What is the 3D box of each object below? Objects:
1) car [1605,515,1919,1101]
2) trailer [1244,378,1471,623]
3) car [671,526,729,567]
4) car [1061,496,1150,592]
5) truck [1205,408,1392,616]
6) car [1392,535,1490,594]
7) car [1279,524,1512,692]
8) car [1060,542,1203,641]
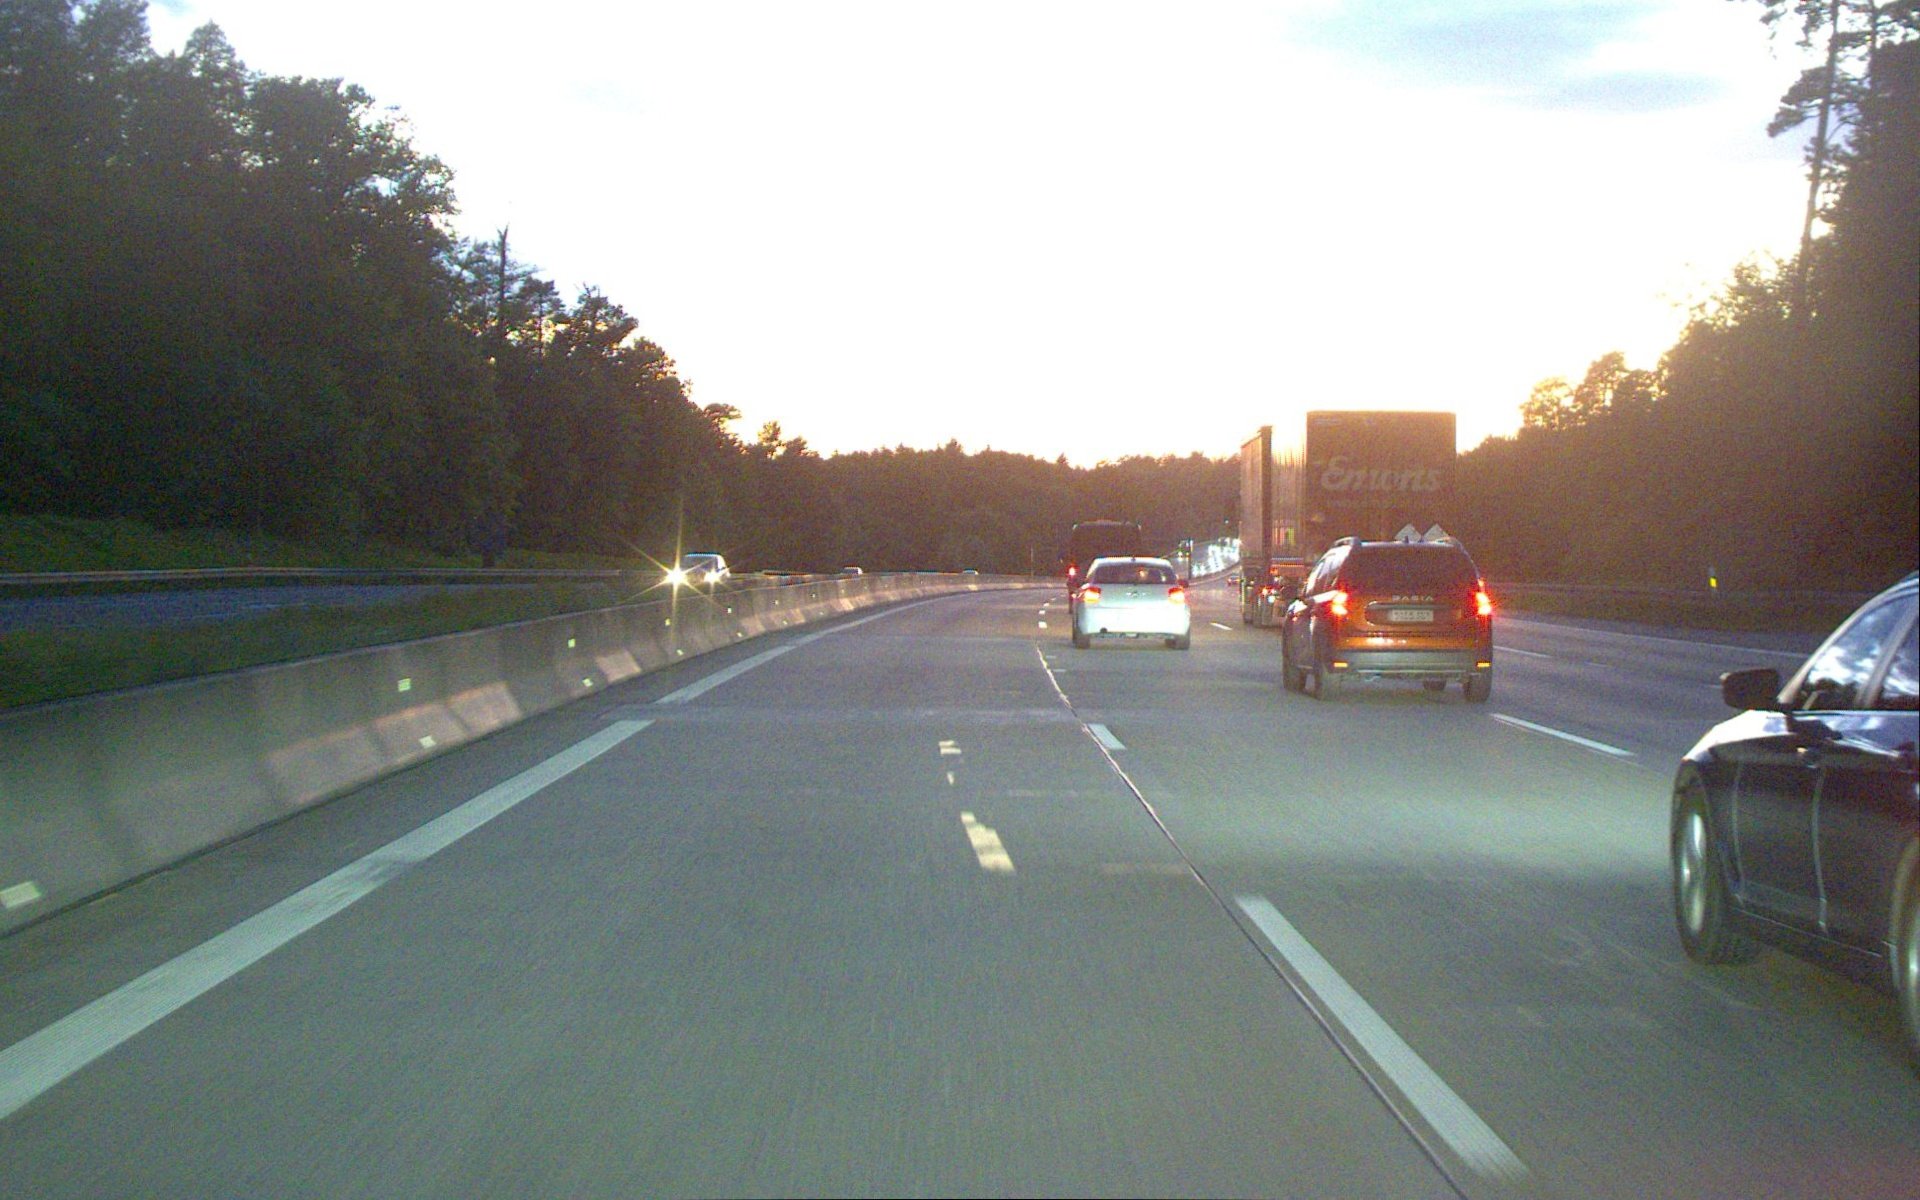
[{"bbox_3d":[3.532,0.539,10.816,1.909,1.532,5.232,0,2,-1],"label":"car"},{"bbox_3d":[7.117,-1.708,62.972,2.907,4.086,10.358,1,0,0],"label":"trailer"},{"bbox_3d":[-9.163,-1.904,121.207,1.619,1.401,4.315,0,1,1],"label":"car"},{"bbox_3d":[3.815,-1.430,89.383,2.166,2.410,5.563,0,0,4],"label":"car"},{"bbox_3d":[7.096,-1.774,73.534,2.885,4.086,10.832,1,0,0],"label":"truck"},{"bbox_3d":[12.125,-0.896,86.850,1.859,1.437,4.112,0,1,0],"label":"car"},{"bbox_3d":[4.494,0.031,36.165,1.903,1.638,5.052,0,1,1],"label":"car"},{"bbox_3d":[2.670,-0.160,54.190,1.859,1.437,3.721,0,2,-3],"label":"car"}]
